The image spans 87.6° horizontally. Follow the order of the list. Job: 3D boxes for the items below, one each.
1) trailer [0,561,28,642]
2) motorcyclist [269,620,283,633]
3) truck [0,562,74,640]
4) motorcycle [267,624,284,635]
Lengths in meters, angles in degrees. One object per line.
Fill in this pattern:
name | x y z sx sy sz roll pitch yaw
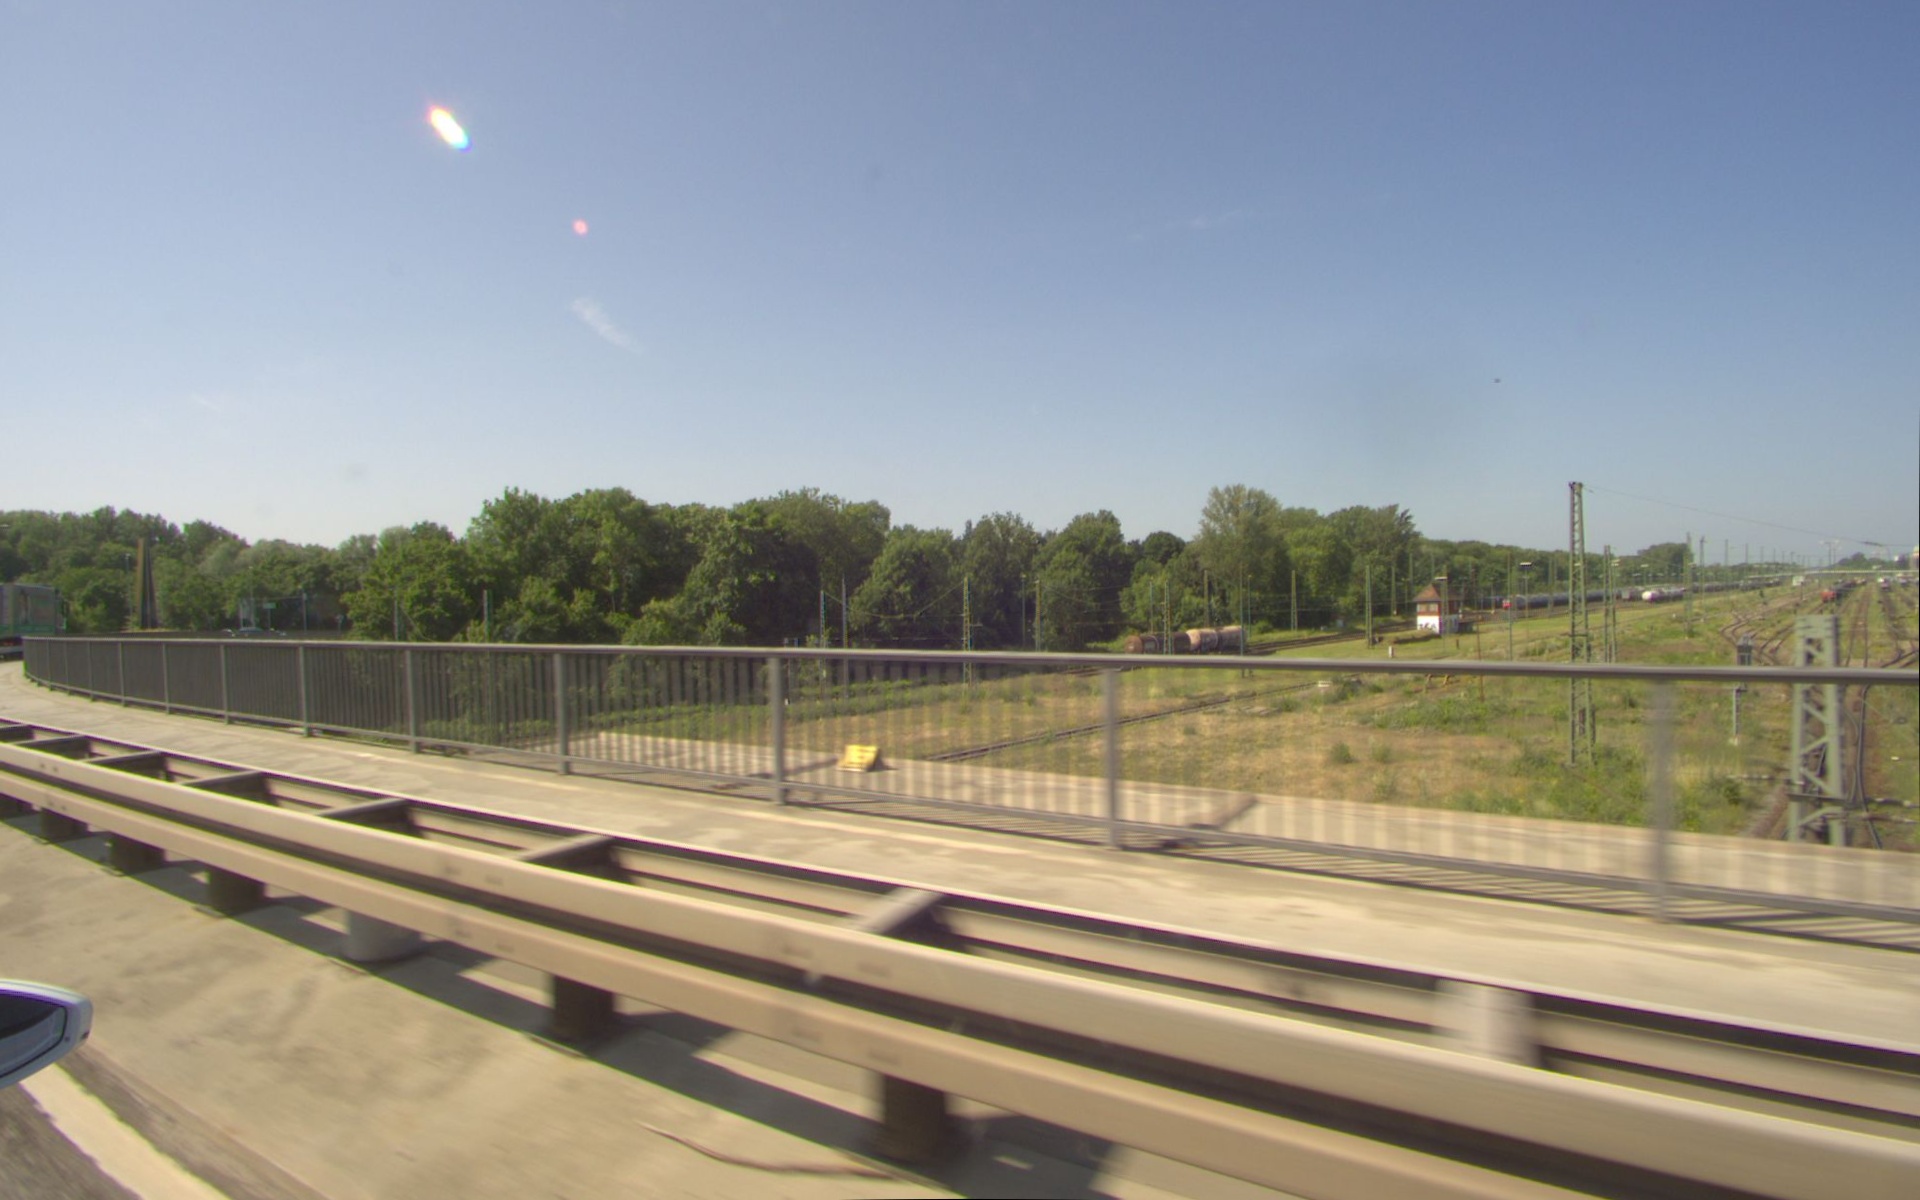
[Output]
trailer | -46.265 -0.004 46.060 3.190 3.806 7.783 3 -2 -30
motorcyclist | -97.617 3.818 142.884 1.437 1.894 0.892 -1 -2 13
truck | -49.931 0.059 52.547 3.224 3.806 8.329 3 -2 -29
motorcycle | -97.632 4.161 142.869 1.946 1.548 0.899 -1 -2 13
